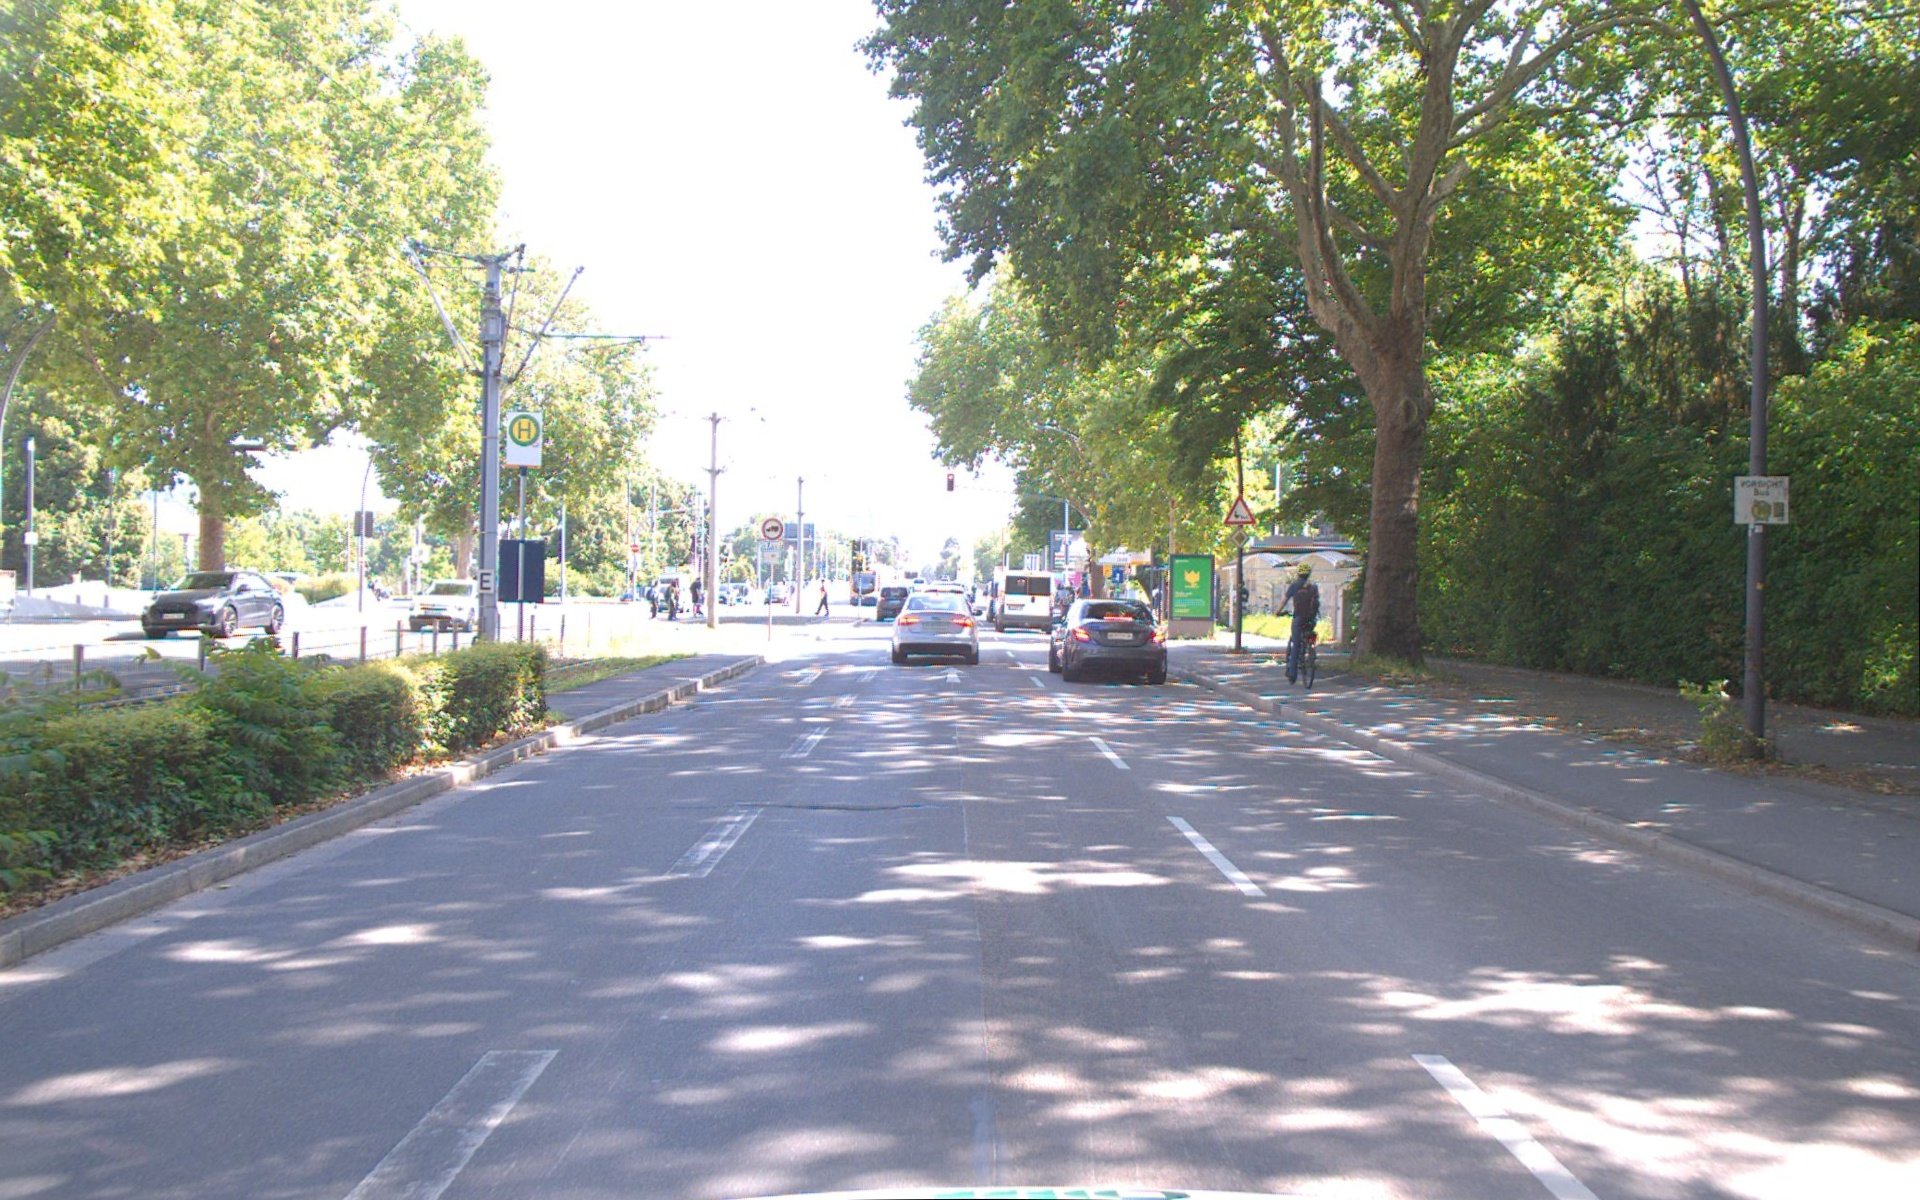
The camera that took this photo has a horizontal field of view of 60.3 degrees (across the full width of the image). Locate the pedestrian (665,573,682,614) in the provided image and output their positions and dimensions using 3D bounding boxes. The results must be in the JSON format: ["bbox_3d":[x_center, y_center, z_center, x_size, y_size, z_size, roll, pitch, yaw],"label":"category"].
[{"bbox_3d":[-11.964,-0.264,69.066,0.580,1.675,0.554,1,0,0],"label":"pedestrian"}]

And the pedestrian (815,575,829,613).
[{"bbox_3d":[-7.173,-0.306,86.031,0.611,1.951,0.689,1,0,0],"label":"pedestrian"}]

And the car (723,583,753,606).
[{"bbox_3d":[-16.951,-0.414,126.216,1.727,1.637,3.860,1,0,0],"label":"car"}]

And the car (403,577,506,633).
[{"bbox_3d":[-15.134,0.129,49.732,1.774,1.590,4.304,1,0,-1],"label":"car"}]

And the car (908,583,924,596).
[{"bbox_3d":[-5.737,-1.404,217.645,1.832,1.637,4.001,1,0,2],"label":"car"}]

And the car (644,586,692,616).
[{"bbox_3d":[-15.684,0.026,89.037,1.760,1.514,4.385,1,0,0],"label":"car"}]

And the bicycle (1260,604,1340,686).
[{"bbox_3d":[5.177,0.659,25.304,0.700,1.168,2.178,-1,0,-1],"label":"bicycle"}]

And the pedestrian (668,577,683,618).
[{"bbox_3d":[-12.029,-0.121,69.872,0.482,1.708,0.643,1,0,0],"label":"pedestrian"}]

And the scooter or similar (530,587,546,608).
[{"bbox_3d":[-23.348,-0.137,91.539,0.536,1.132,1.248,1,0,0],"label":"scooter or similar"}]

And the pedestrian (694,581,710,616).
[{"bbox_3d":[-11.962,-0.072,76.662,0.526,1.626,0.578,1,0,18],"label":"pedestrian"}]

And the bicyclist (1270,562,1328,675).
[{"bbox_3d":[5.160,0.271,25.186,0.621,1.677,0.979,-1,0,-1],"label":"bicyclist"}]

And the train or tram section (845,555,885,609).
[{"bbox_3d":[-7.443,-1.384,130.578,2.563,4.085,7.749,1,0,0],"label":"train or tram section"}]

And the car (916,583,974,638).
[{"bbox_3d":[-0.454,0.304,51.483,1.694,1.633,3.885,1,0,0],"label":"car"}]

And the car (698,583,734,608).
[{"bbox_3d":[-16.695,-0.296,113.516,1.833,1.637,4.000,1,0,0],"label":"car"}]

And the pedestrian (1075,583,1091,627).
[{"bbox_3d":[5.493,0.221,74.010,0.622,1.980,0.719,1,0,0],"label":"pedestrian"}]

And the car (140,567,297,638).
[{"bbox_3d":[-18.783,0.043,42.167,1.792,1.652,4.896,1,0,-1],"label":"car"}]

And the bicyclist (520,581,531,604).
[{"bbox_3d":[-27.350,-0.447,104.101,0.475,1.441,0.585,1,0,-35],"label":"bicyclist"}]

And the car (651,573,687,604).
[{"bbox_3d":[-23.180,-0.903,131.876,2.071,2.424,4.000,1,0,0],"label":"car"}]

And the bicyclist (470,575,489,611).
[{"bbox_3d":[-22.092,-0.314,76.063,0.563,1.632,0.838,1,0,0],"label":"bicyclist"}]

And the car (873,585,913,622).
[{"bbox_3d":[-3.170,0.146,78.893,1.694,1.659,4.000,1,0,0],"label":"car"}]

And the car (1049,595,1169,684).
[{"bbox_3d":[2.608,0.652,29.693,1.746,1.445,4.000,1,0,0],"label":"car"}]

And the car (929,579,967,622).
[{"bbox_3d":[-0.571,0.005,79.061,1.694,1.935,4.000,1,0,0],"label":"car"}]

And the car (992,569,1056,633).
[{"bbox_3d":[2.365,0.020,62.012,2.184,2.250,4.161,1,0,0],"label":"car"}]

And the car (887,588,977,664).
[{"bbox_3d":[-0.553,0.500,34.476,1.748,1.445,3.885,1,0,0],"label":"car"}]

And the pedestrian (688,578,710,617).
[{"bbox_3d":[-11.987,-0.134,75.923,0.758,1.764,0.755,1,0,8],"label":"pedestrian"}]

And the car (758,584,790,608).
[{"bbox_3d":[-14.071,-0.298,125.390,1.953,1.764,4.000,1,0,0],"label":"car"}]

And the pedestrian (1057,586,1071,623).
[{"bbox_3d":[4.807,0.205,76.440,0.590,1.724,0.953,-1,0,0],"label":"pedestrian"}]

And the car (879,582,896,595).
[{"bbox_3d":[-9.502,-1.528,217.646,1.832,1.637,4.001,1,0,2],"label":"car"}]

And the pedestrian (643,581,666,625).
[{"bbox_3d":[-11.772,0.110,63.722,0.748,1.651,0.590,1,0,-26],"label":"pedestrian"}]

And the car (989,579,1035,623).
[{"bbox_3d":[2.487,0.035,80.182,2.030,2.034,4.058,1,0,0],"label":"car"}]

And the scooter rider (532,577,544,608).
[{"bbox_3d":[-23.349,-0.416,91.548,0.496,1.660,0.566,1,0,0],"label":"scooter rider"}]

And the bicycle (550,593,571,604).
[{"bbox_3d":[-29.216,-0.094,120.979,0.482,0.744,1.619,1,0,28],"label":"bicycle"}]

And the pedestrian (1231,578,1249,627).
[{"bbox_3d":[11.112,0.095,65.654,0.601,1.929,0.597,1,0,-3],"label":"pedestrian"}]

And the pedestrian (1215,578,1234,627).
[{"bbox_3d":[10.471,0.088,65.579,0.601,1.929,0.694,1,0,-3],"label":"pedestrian"}]

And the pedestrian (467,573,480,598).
[{"bbox_3d":[-31.740,-0.941,107.906,0.610,1.569,0.644,1,0,-2],"label":"pedestrian"}]

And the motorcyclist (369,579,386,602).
[{"bbox_3d":[-34.527,-0.562,98.042,0.737,1.337,0.604,1,0,0],"label":"motorcyclist"}]
